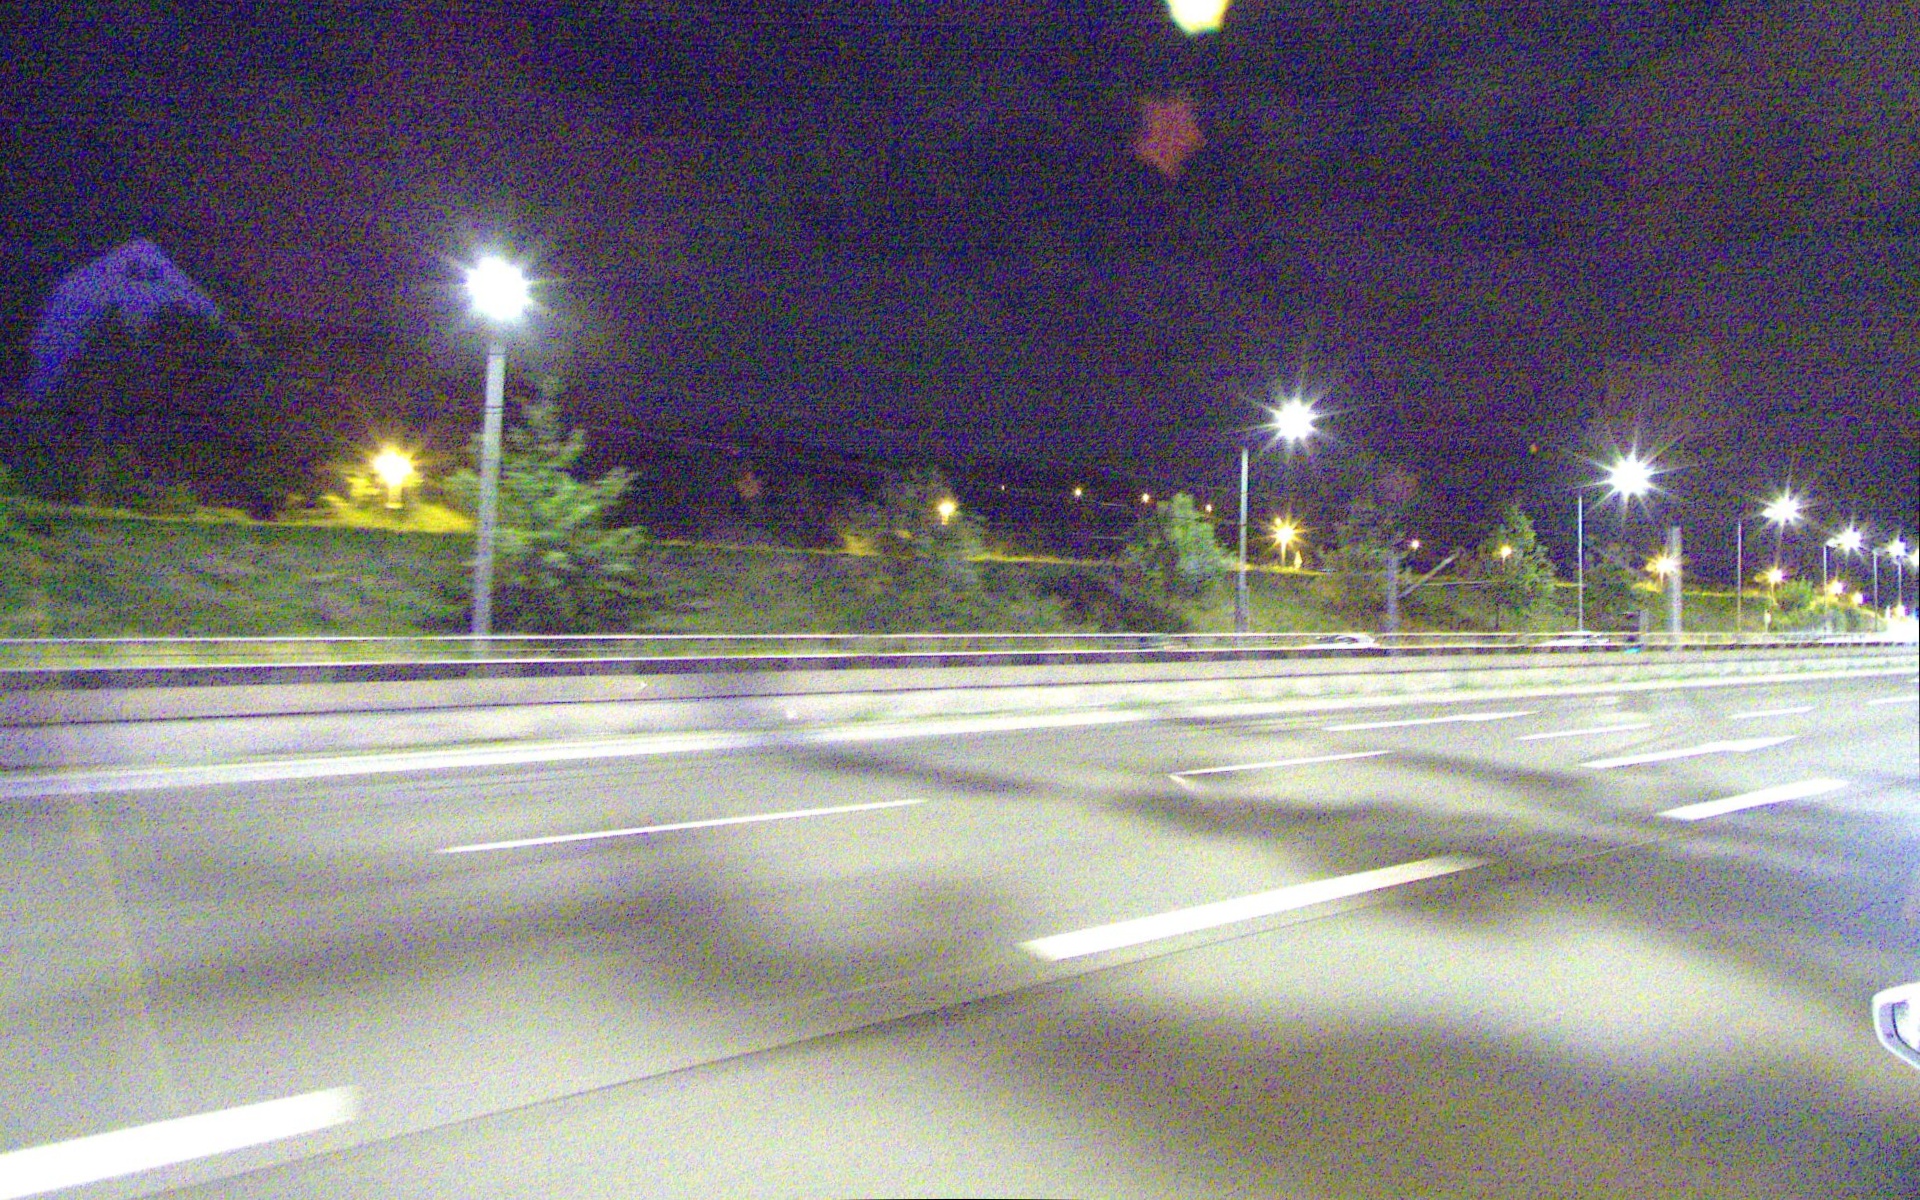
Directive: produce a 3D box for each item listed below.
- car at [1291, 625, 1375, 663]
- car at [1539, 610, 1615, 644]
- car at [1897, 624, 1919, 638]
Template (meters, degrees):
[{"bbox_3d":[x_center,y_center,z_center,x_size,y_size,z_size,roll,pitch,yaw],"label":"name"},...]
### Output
[{"bbox_3d":[18.059,2.142,48.564,3.959,1.707,1.820,3,-1,-34],"label":"car"},{"bbox_3d":[31.775,1.395,51.709,3.956,1.717,1.790,1,-1,-33],"label":"car"},{"bbox_3d":[109.645,3.625,115.674,3.638,1.500,1.617,3,-1,-32],"label":"car"}]
